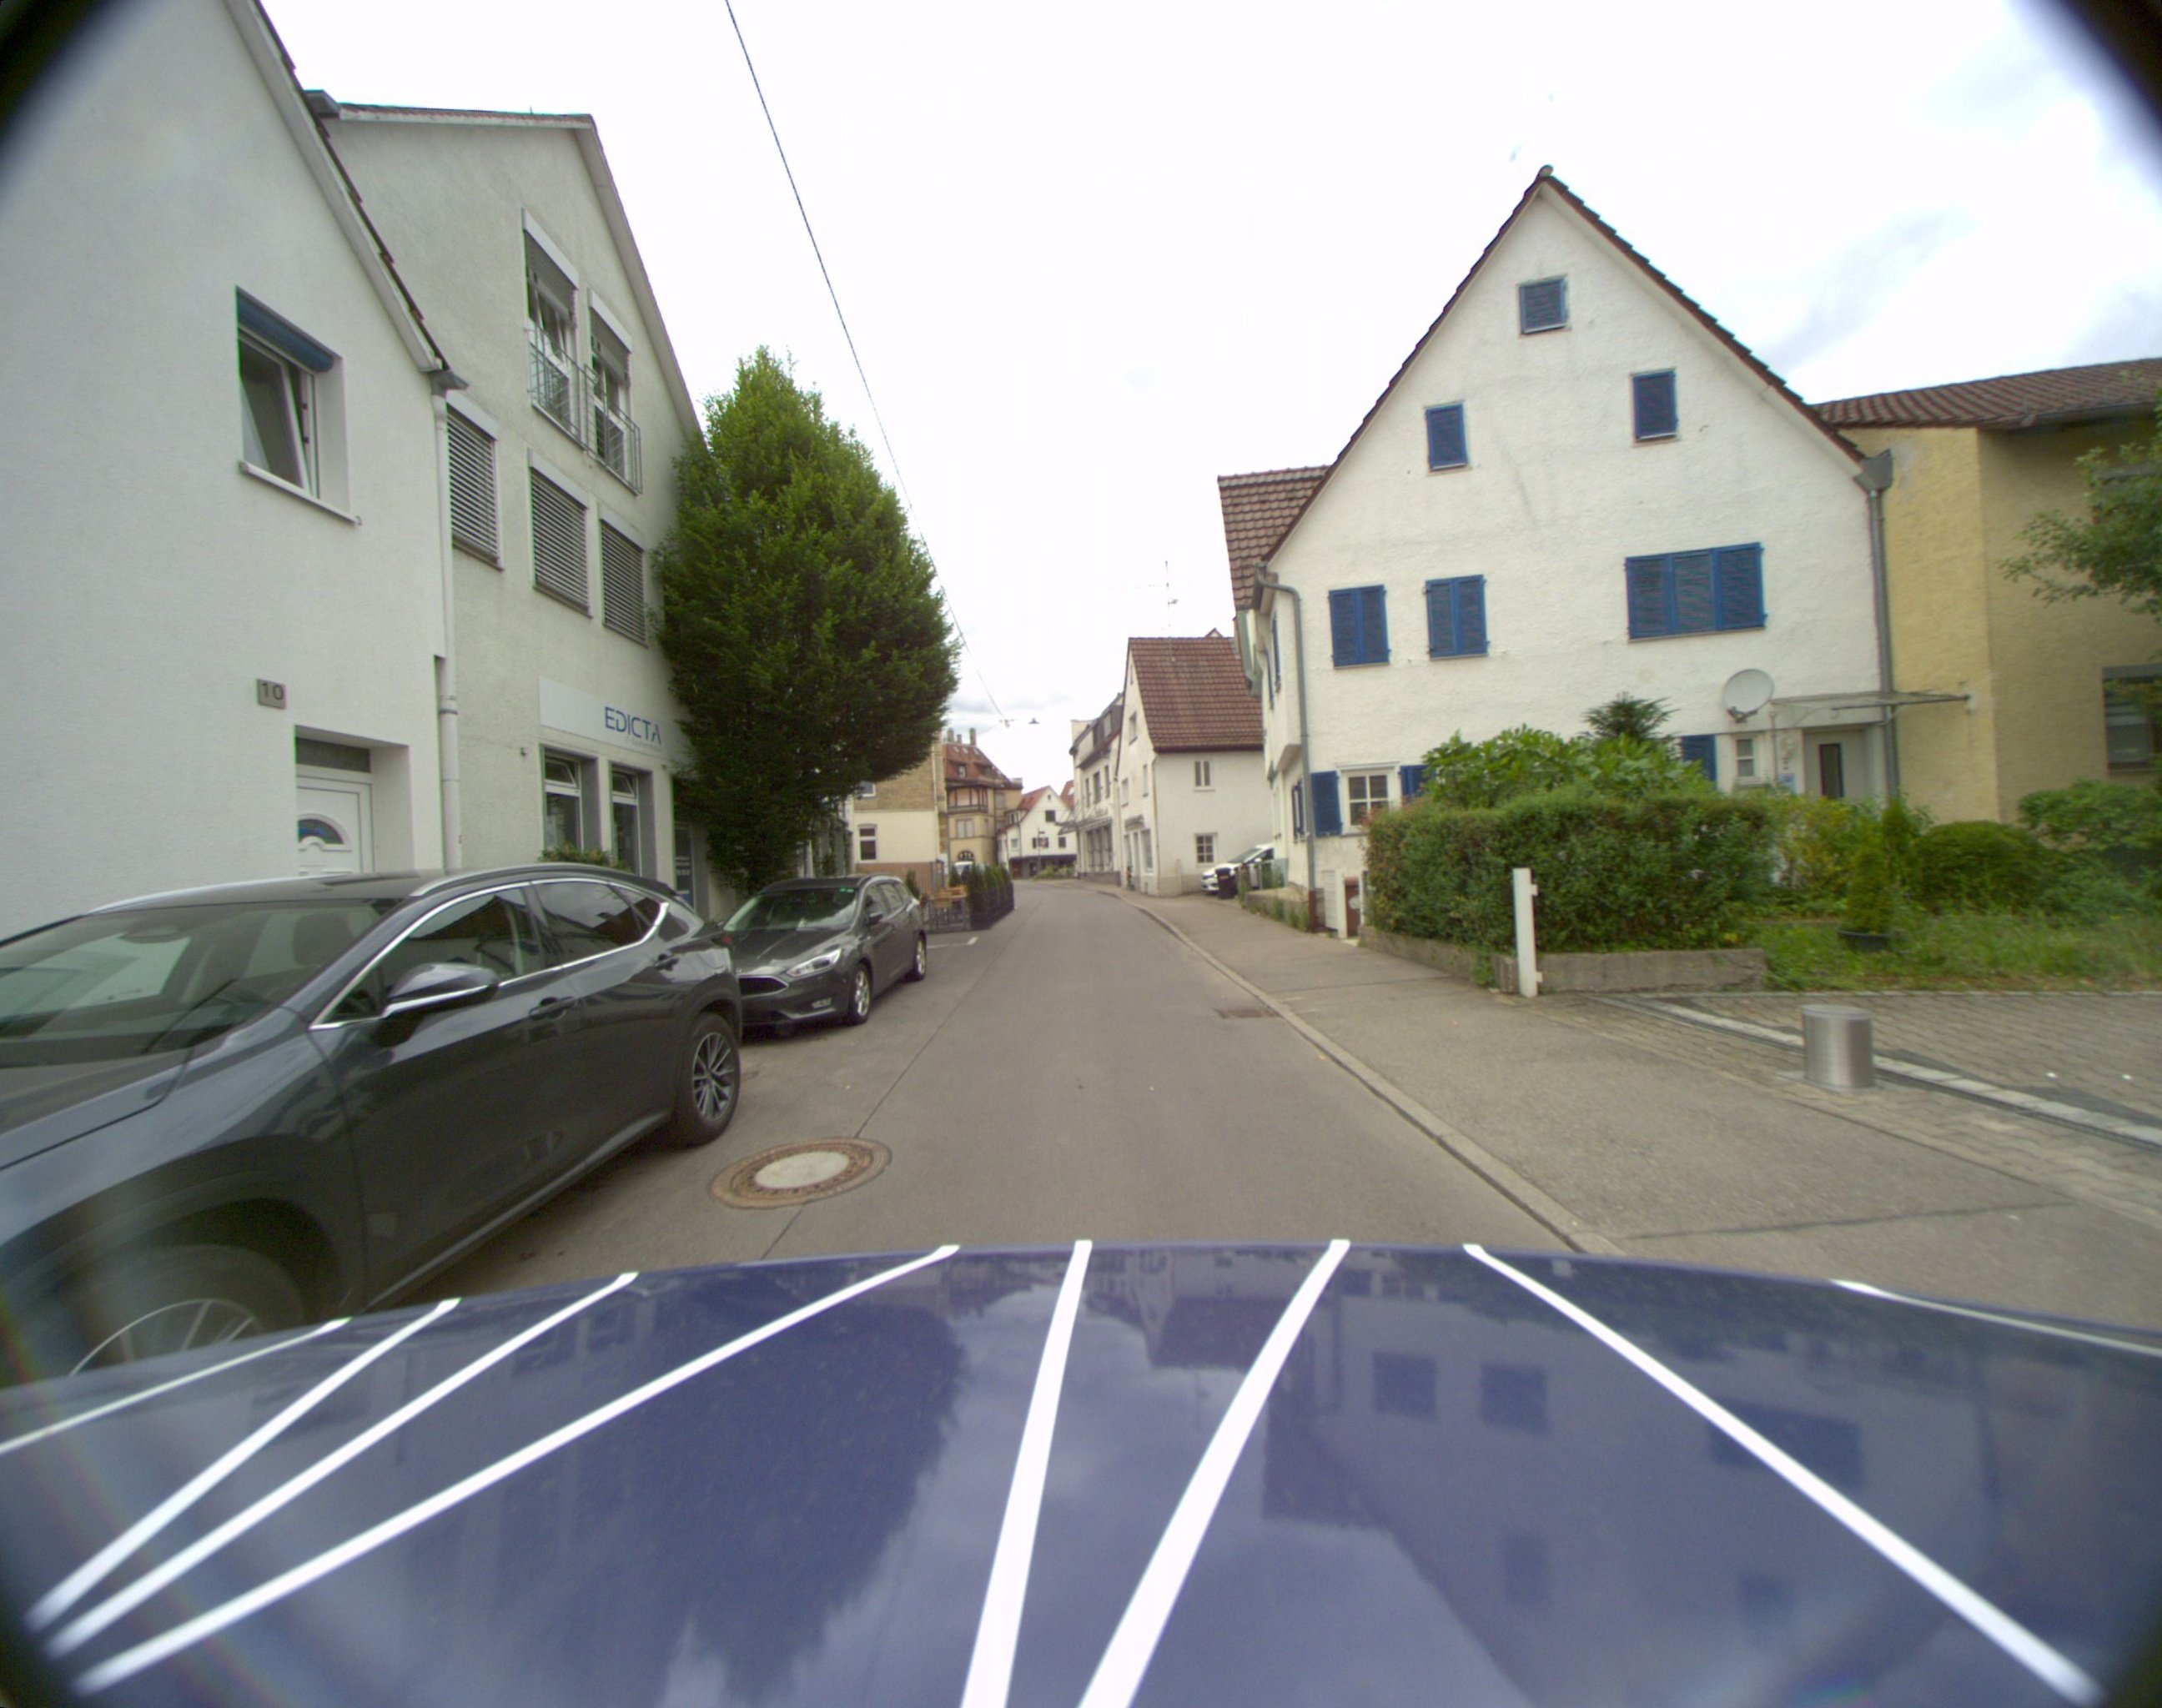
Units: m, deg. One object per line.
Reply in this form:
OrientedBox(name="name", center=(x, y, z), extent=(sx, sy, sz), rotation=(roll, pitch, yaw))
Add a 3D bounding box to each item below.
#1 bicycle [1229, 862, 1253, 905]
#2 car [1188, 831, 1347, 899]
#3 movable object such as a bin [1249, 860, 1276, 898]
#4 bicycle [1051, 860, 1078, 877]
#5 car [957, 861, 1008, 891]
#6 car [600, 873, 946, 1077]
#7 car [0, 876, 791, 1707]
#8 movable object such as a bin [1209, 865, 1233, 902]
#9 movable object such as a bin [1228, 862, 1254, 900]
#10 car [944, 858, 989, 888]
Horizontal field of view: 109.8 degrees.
OrientedBox(name="bicycle", center=(4.329, 0.768, 20.524), extent=(0.443, 1.032, 2.094), rotation=(-7, -2, 14))
OrientedBox(name="car", center=(6.034, 0.306, 24.899), extent=(4.550, 1.492, 1.976), rotation=(-8, 3, -6))
OrientedBox(name="movable object such as a bin", center=(5.189, 0.707, 21.771), extent=(0.556, 0.994, 0.623), rotation=(-9, -1, 9))
OrientedBox(name="bicycle", center=(-1.317, 1.124, 60.258), extent=(1.983, 1.232, 0.743), rotation=(-3, -1, -27))
OrientedBox(name="car", center=(-5.865, 1.285, 44.731), extent=(1.795, 1.591, 4.534), rotation=(-4, 0, -22))
OrientedBox(name="car", center=(-3.056, 1.092, 8.883), extent=(1.953, 1.499, 4.820), rotation=(-3, 0, 1))
OrientedBox(name="car", center=(-2.988, 1.024, 2.901), extent=(1.868, 1.624, 4.900), rotation=(-3, 0, -1))
OrientedBox(name="movable object such as a bin", center=(4.013, 0.845, 21.764), extent=(0.554, 0.994, 0.587), rotation=(-8, -2, 10))
OrientedBox(name="movable object such as a bin", center=(4.611, 0.778, 21.921), extent=(0.570, 0.994, 0.600), rotation=(-8, -2, 9))
OrientedBox(name="car", center=(-7.475, 1.244, 49.376), extent=(1.833, 1.781, 4.211), rotation=(-3, -1, -23))
